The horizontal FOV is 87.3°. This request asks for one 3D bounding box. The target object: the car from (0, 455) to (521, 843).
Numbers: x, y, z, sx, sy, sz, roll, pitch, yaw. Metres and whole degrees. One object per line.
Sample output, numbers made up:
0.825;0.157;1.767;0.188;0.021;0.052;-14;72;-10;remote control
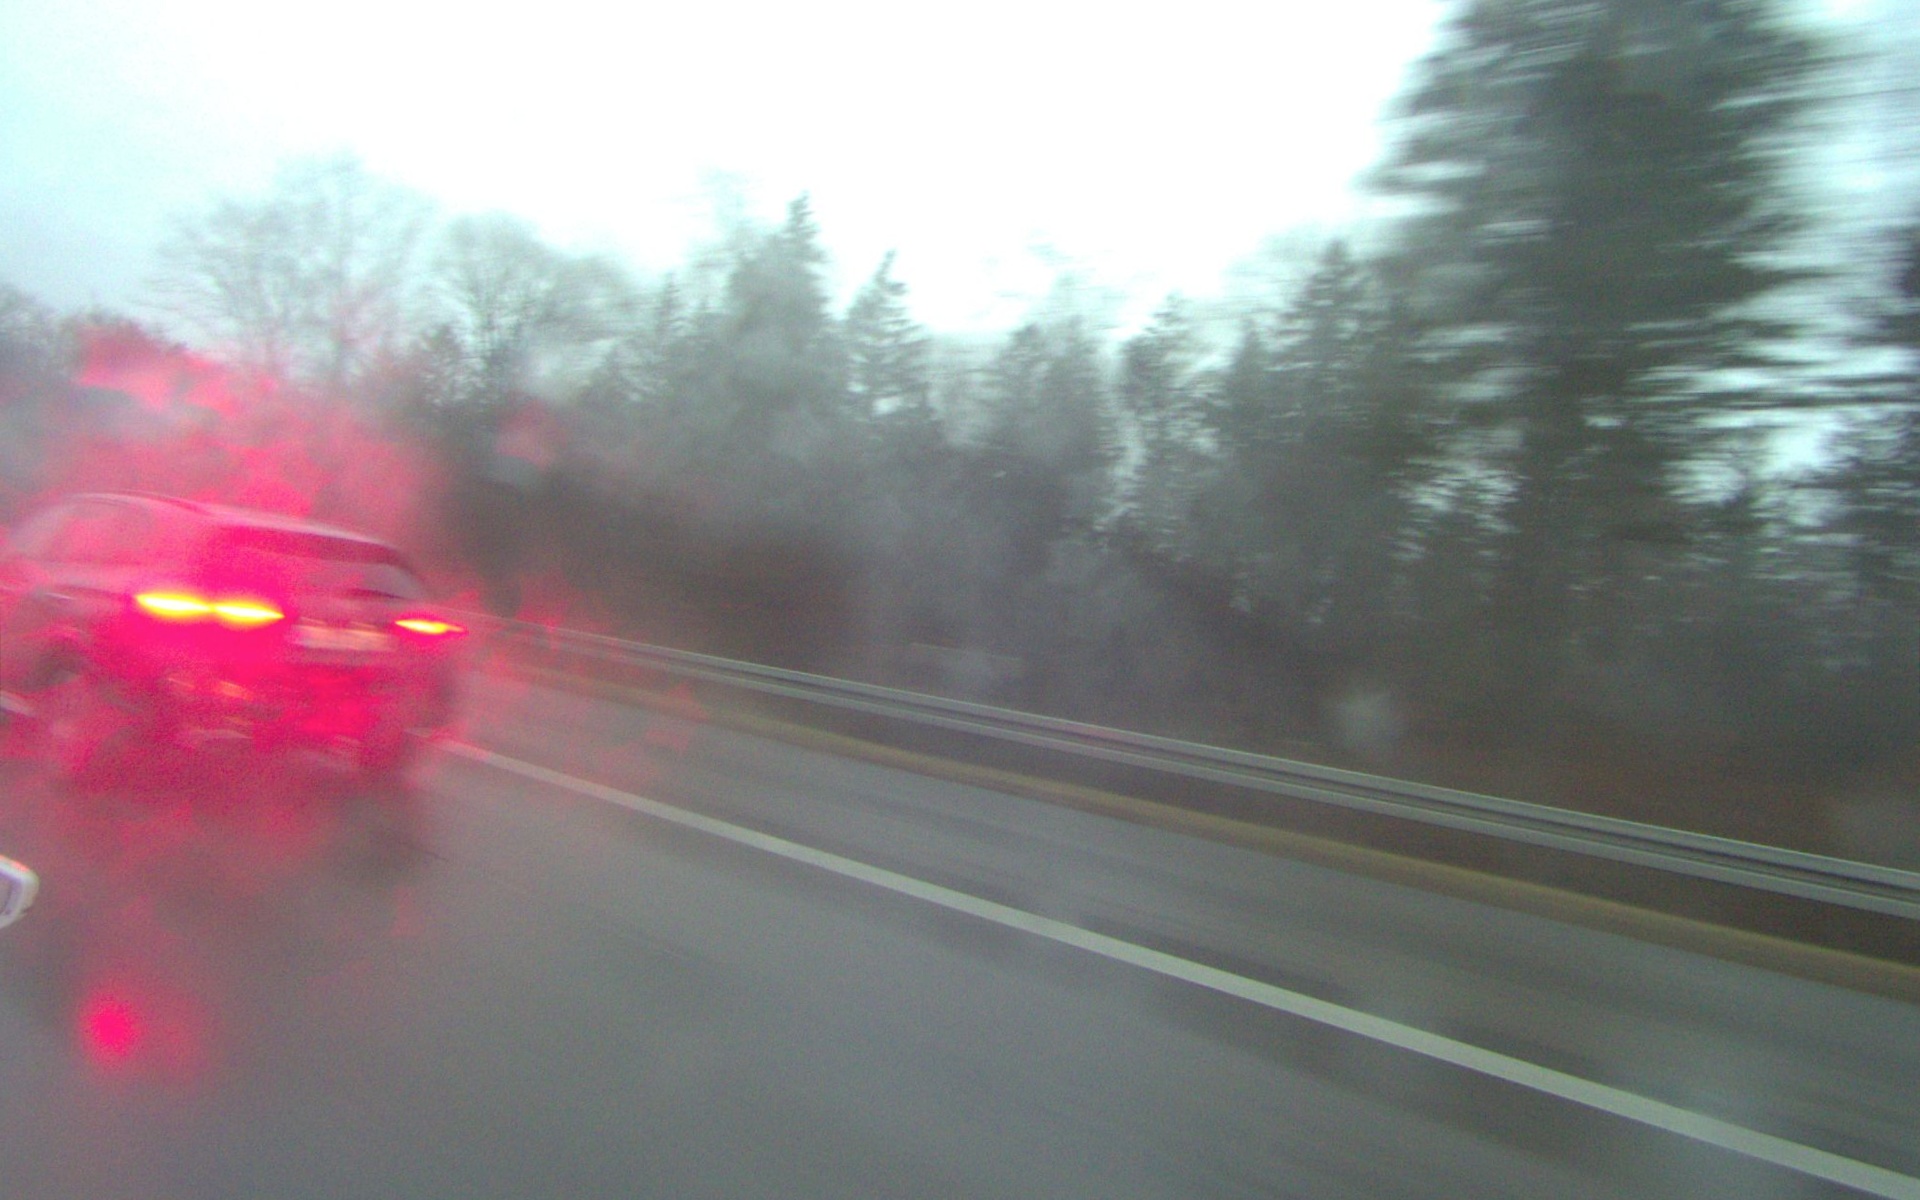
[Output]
-5.041;0.166;6.586;3.875;1.812;1.928;6;-2;31;car
